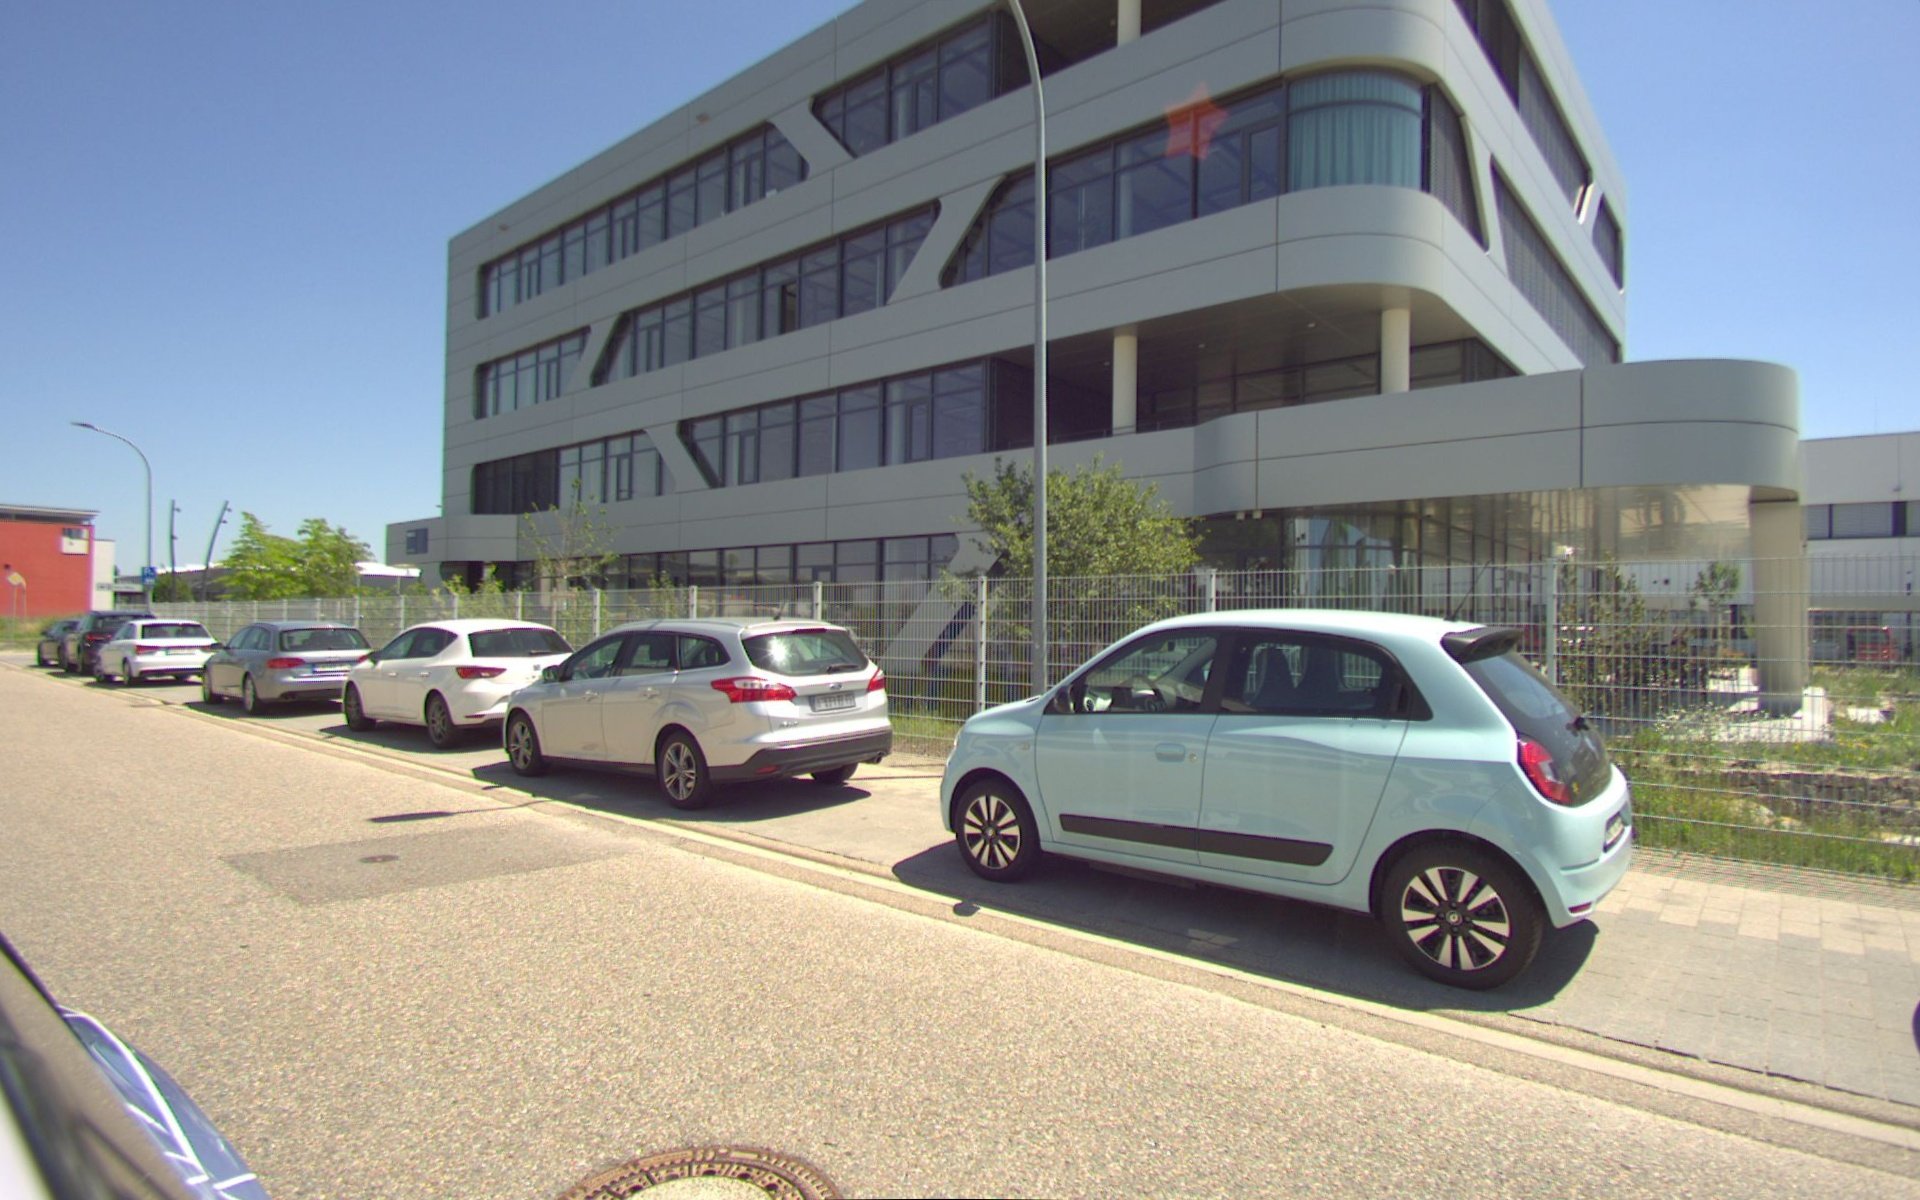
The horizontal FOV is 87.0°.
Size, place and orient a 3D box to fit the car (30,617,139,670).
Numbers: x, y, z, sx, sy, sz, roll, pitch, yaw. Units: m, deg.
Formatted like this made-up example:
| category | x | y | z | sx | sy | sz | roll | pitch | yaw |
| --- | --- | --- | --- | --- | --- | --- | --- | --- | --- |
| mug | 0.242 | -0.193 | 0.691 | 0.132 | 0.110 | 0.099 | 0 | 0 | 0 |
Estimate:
| category | x | y | z | sx | sy | sz | roll | pitch | yaw |
| --- | --- | --- | --- | --- | --- | --- | --- | --- | --- |
| car | -26.379 | 1.272 | 30.442 | 4.181 | 1.477 | 1.752 | -1 | -2 | 39 |

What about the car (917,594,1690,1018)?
| category | x | y | z | sx | sy | sz | roll | pitch | yaw |
| --- | --- | --- | --- | --- | --- | --- | --- | --- | --- |
| car | 1.653 | 0.768 | 5.513 | 3.655 | 1.548 | 1.618 | -1 | -1 | 40 |

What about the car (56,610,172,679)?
| category | x | y | z | sx | sy | sz | roll | pitch | yaw |
| --- | --- | --- | --- | --- | --- | --- | --- | --- | --- |
| car | -22.424 | 1.130 | 26.747 | 4.850 | 1.664 | 1.750 | -2 | -2 | 43 |

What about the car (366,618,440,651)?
| category | x | y | z | sx | sy | sz | roll | pitch | yaw |
| --- | --- | --- | --- | --- | --- | --- | --- | --- | --- |
| car | -26.731 | 1.626 | 48.497 | 4.103 | 1.523 | 1.752 | -1 | -2 | 41 |

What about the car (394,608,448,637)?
| category | x | y | z | sx | sy | sz | roll | pitch | yaw |
| --- | --- | --- | --- | --- | --- | --- | --- | --- | --- |
| car | -31.844 | 1.328 | 59.767 | 4.254 | 1.633 | 1.588 | -3 | -3 | 44 |

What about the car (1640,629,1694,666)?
| category | x | y | z | sx | sy | sz | roll | pitch | yaw |
| --- | --- | --- | --- | --- | --- | --- | --- | --- | --- |
| car | 32.251 | 2.153 | 46.233 | 1.917 | 1.597 | 3.954 | -1 | -2 | 34 |

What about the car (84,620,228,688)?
| category | x | y | z | sx | sy | sz | roll | pitch | yaw |
| --- | --- | --- | --- | --- | --- | --- | --- | --- | --- |
| car | -18.046 | 1.160 | 22.667 | 3.932 | 1.396 | 1.683 | -1 | -2 | 38 |

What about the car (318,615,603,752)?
| category | x | y | z | sx | sy | sz | roll | pitch | yaw |
| --- | --- | --- | --- | --- | --- | --- | --- | --- | --- |
| car | -6.539 | 0.926 | 13.011 | 4.436 | 1.454 | 1.686 | -1 | -1 | 40 |

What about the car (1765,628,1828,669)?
| category | x | y | z | sx | sy | sz | roll | pitch | yaw |
| --- | --- | --- | --- | --- | --- | --- | --- | --- | --- |
| car | 35.065 | 2.016 | 42.391 | 1.921 | 1.597 | 3.945 | -1 | -2 | 41 |

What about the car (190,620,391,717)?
| category | x | y | z | sx | sy | sz | roll | pitch | yaw |
| --- | --- | --- | --- | --- | --- | --- | --- | --- | --- |
| car | -11.246 | 1.047 | 16.861 | 4.637 | 1.396 | 1.666 | -1 | -2 | 42 |

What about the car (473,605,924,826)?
| category | x | y | z | sx | sy | sz | roll | pitch | yaw |
| --- | --- | --- | --- | --- | --- | --- | --- | --- | --- |
| car | -2.578 | 0.837 | 9.257 | 4.569 | 1.548 | 1.686 | -1 | -1 | 40 |
